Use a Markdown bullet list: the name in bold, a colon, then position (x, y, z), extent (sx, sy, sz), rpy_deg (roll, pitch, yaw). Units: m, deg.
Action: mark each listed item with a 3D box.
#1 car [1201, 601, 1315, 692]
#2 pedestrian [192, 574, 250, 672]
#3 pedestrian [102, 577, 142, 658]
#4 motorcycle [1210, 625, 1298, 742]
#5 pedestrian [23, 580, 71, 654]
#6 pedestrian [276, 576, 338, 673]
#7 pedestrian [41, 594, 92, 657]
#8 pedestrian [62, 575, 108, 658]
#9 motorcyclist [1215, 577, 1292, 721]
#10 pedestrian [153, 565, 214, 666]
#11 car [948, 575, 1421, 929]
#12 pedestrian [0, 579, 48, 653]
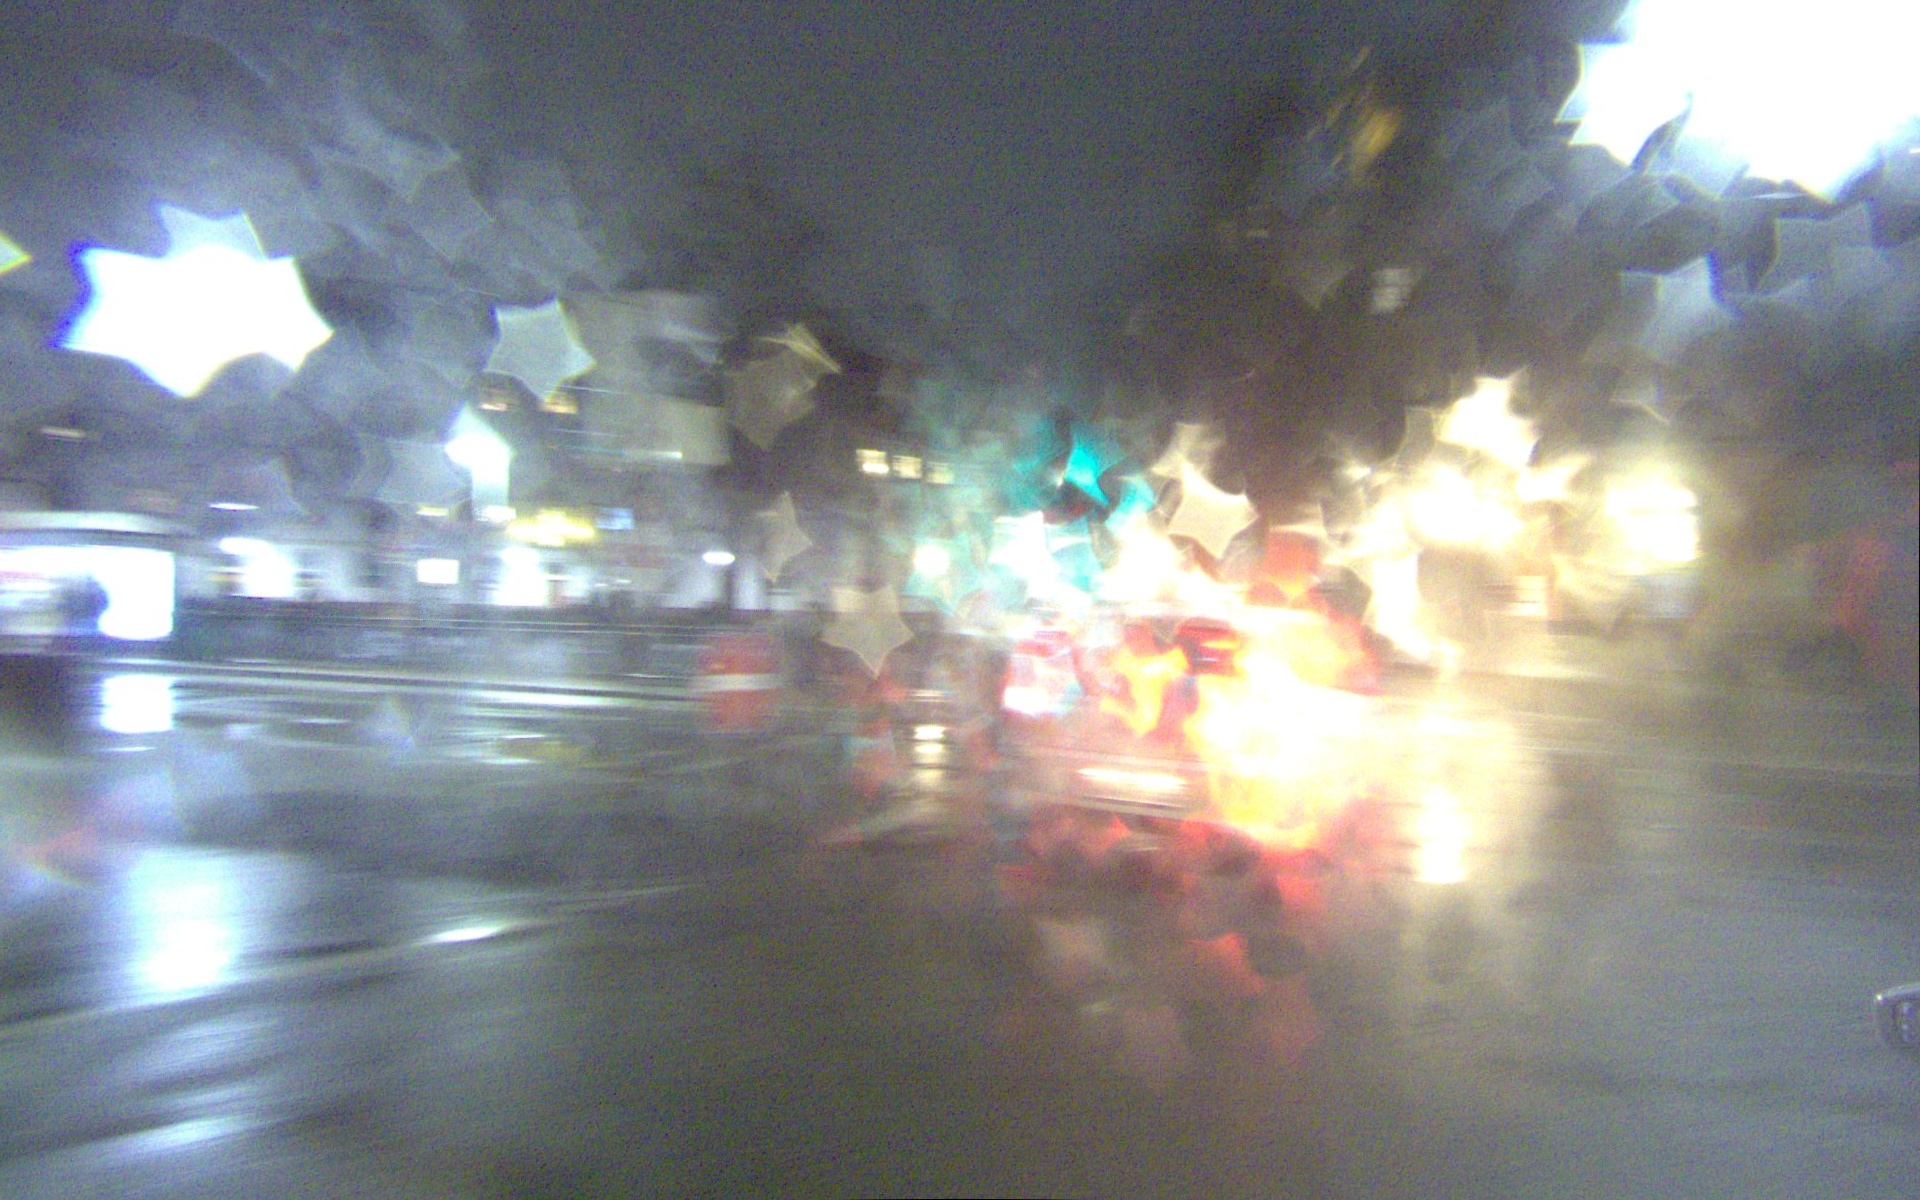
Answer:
- **car**: position (6.696, 0.956, 22.329), extent (1.721, 1.763, 3.794), rpy_deg (3, 1, 27)
- **pedestrian**: position (-14.013, 0.419, 19.049), extent (0.660, 1.798, 0.715), rpy_deg (3, 3, 36)
- **pedestrian**: position (-17.321, 0.361, 20.767), extent (0.525, 1.651, 0.397), rpy_deg (0, 2, -24)
- **motorcycle**: position (3.637, 0.975, 12.597), extent (0.776, 1.229, 2.251), rpy_deg (2, 1, 10)
- **pedestrian**: position (-19.581, 0.363, 21.544), extent (0.575, 1.549, 0.480), rpy_deg (1, 2, 2)
- **pedestrian**: position (-12.392, 0.453, 19.078), extent (0.703, 1.798, 0.671), rpy_deg (2, 2, 10)
- **pedestrian**: position (-18.640, 0.516, 20.967), extent (0.615, 1.270, 0.581), rpy_deg (0, 2, -23)
- **pedestrian**: position (-17.980, 0.323, 20.649), extent (0.552, 1.674, 0.581), rpy_deg (0, 2, -23)
- **motorcyclist**: position (3.658, 0.591, 12.584), extent (0.776, 1.717, 0.820), rpy_deg (2, 1, 10)
- **pedestrian**: position (-15.870, 0.303, 20.538), extent (0.842, 2.013, 0.609), rpy_deg (2, 2, 17)
- **car**: position (1.687, 0.689, 6.458), extent (1.891, 1.536, 3.590), rpy_deg (2, 0, 31)
- **pedestrian**: position (-20.135, 0.340, 21.609), extent (0.563, 1.568, 0.512), rpy_deg (1, 2, 2)
